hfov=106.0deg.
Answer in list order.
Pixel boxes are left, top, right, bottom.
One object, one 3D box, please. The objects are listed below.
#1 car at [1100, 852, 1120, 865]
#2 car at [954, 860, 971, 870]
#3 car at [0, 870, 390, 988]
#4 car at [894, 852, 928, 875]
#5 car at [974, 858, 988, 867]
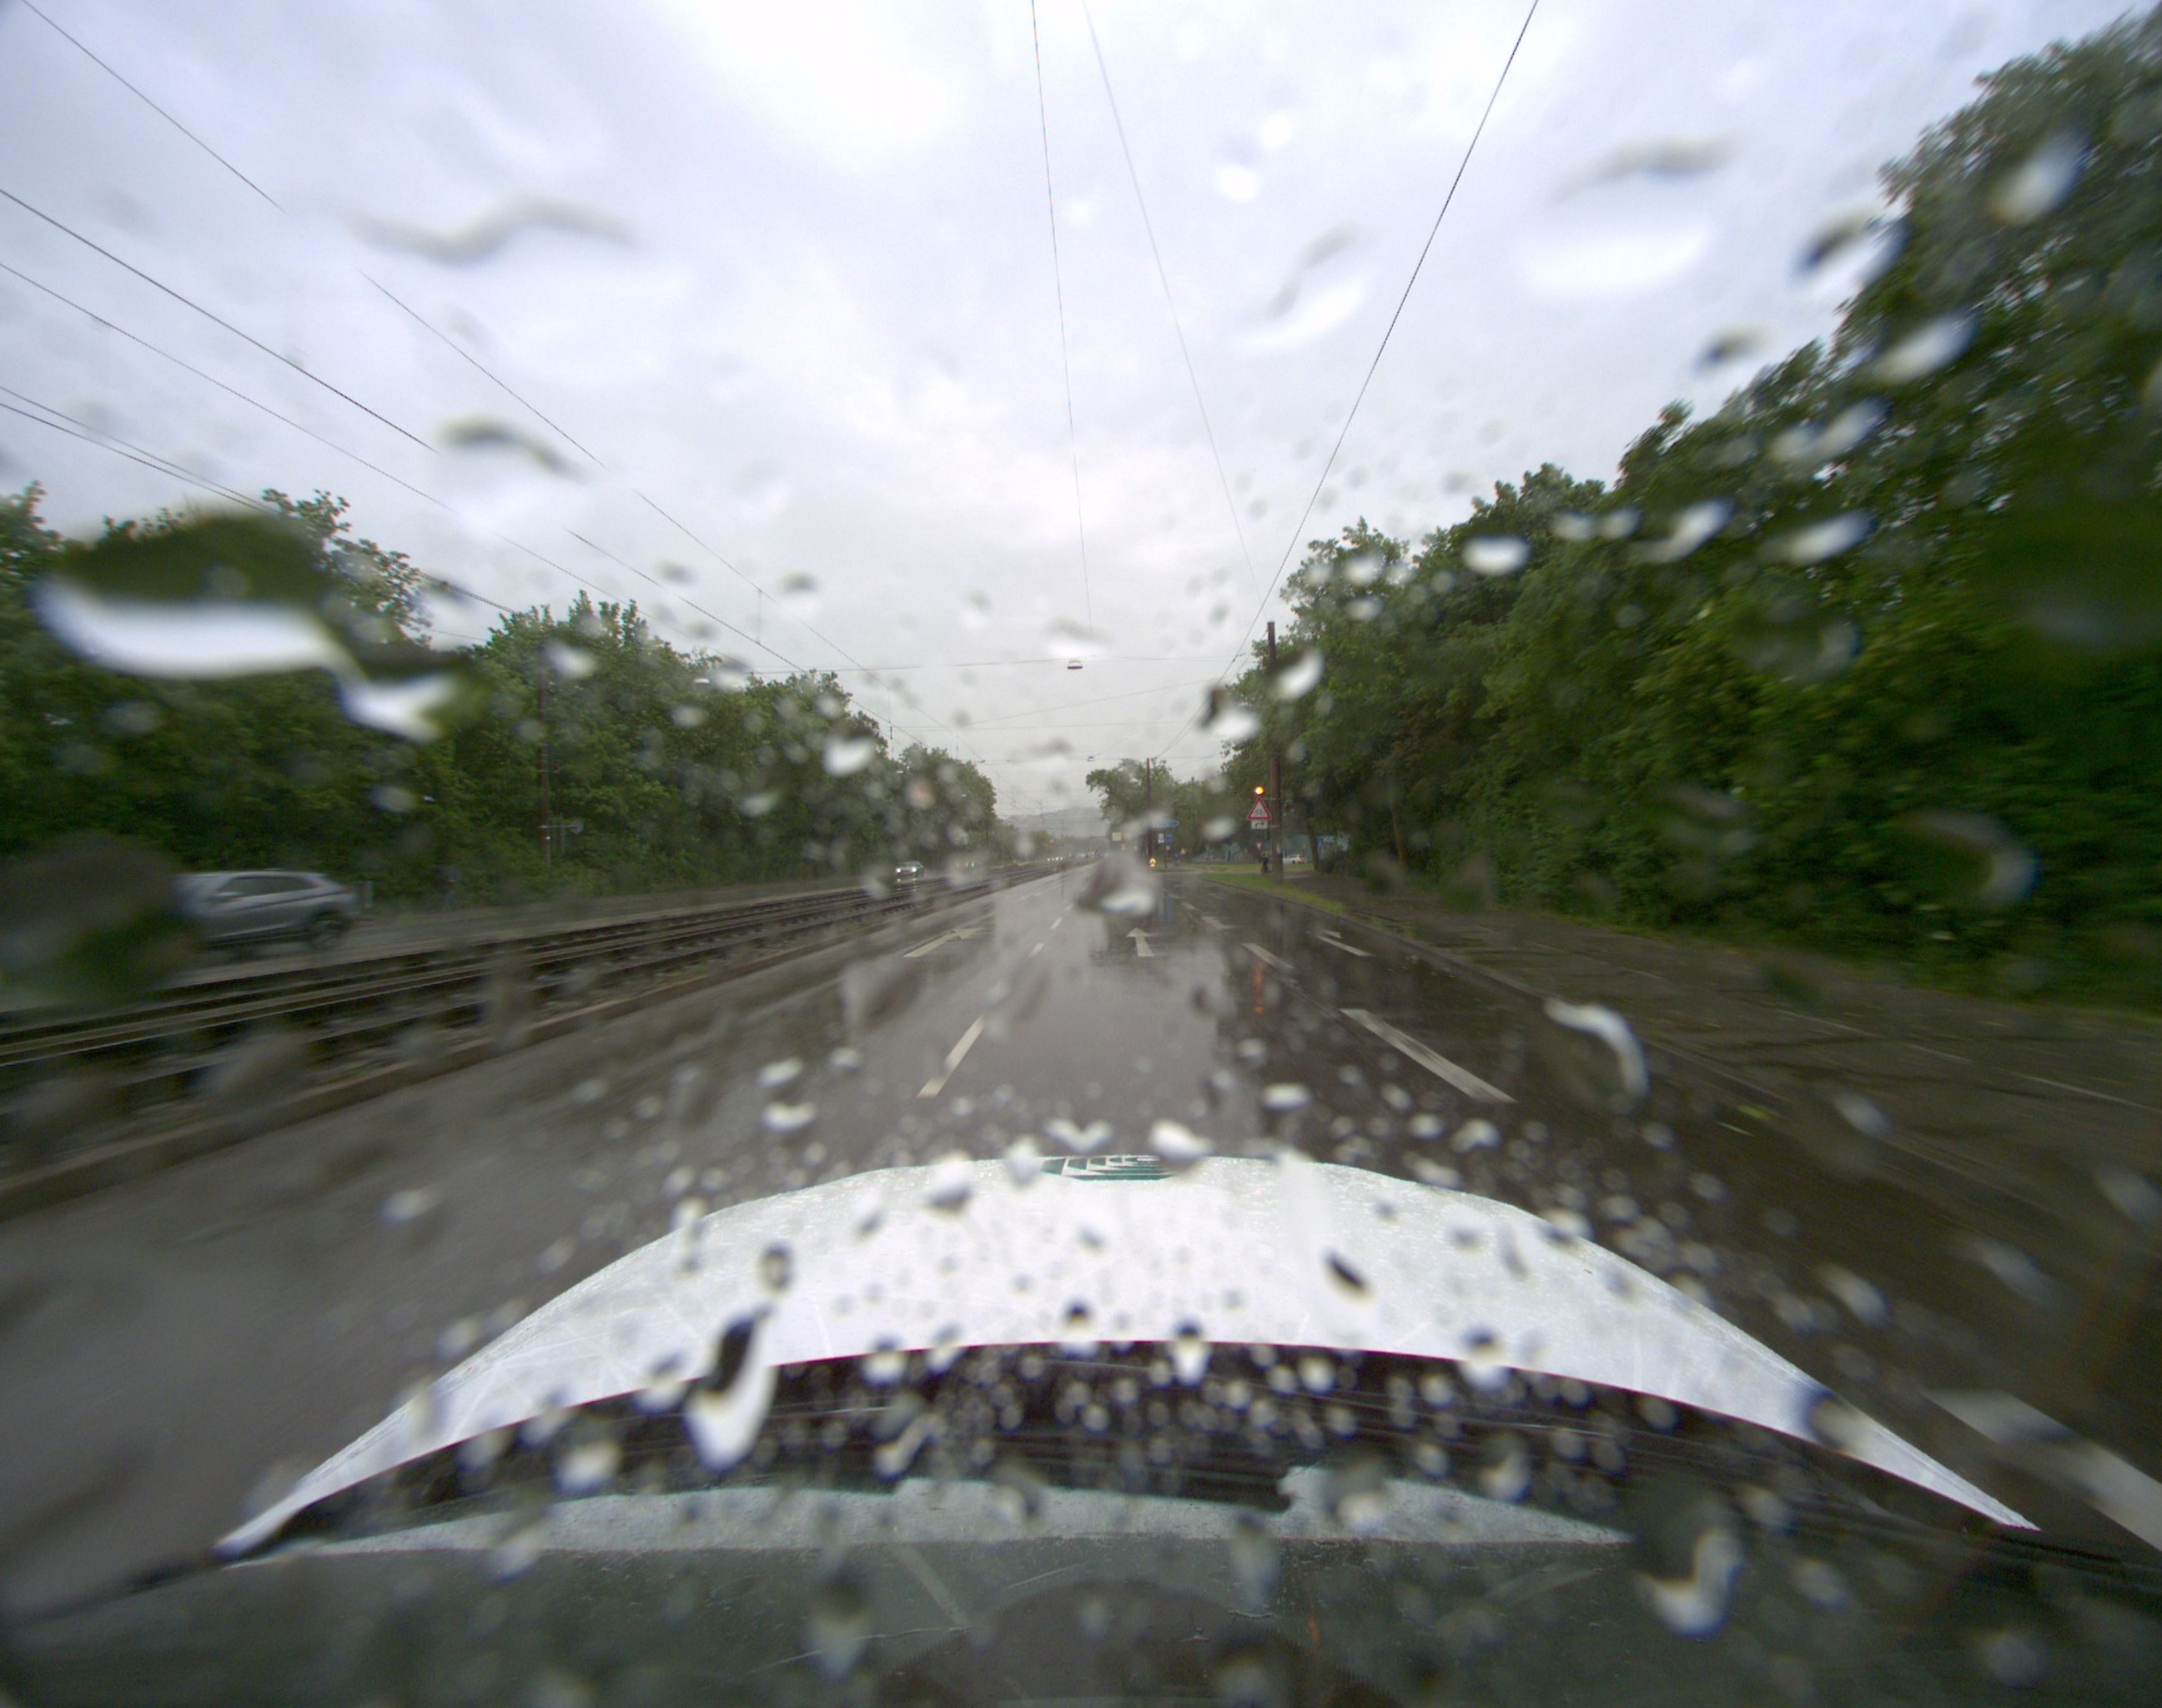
[{"bbox_3d":[3.189,0.488,89.271,2.069,1.420,4.002,-2,0,2],"label":"car"},{"bbox_3d":[-17.604,1.624,120.826,1.765,1.330,4.380,-1,0,1],"label":"car"},{"bbox_3d":[-15.791,1.202,14.940,1.987,1.672,4.873,-1,0,1],"label":"car"},{"bbox_3d":[-14.709,0.826,70.657,1.986,1.782,4.001,4,0,1],"label":"car"},{"bbox_3d":[-17.811,1.453,145.025,1.684,1.523,4.956,-1,0,1],"label":"car"}]
